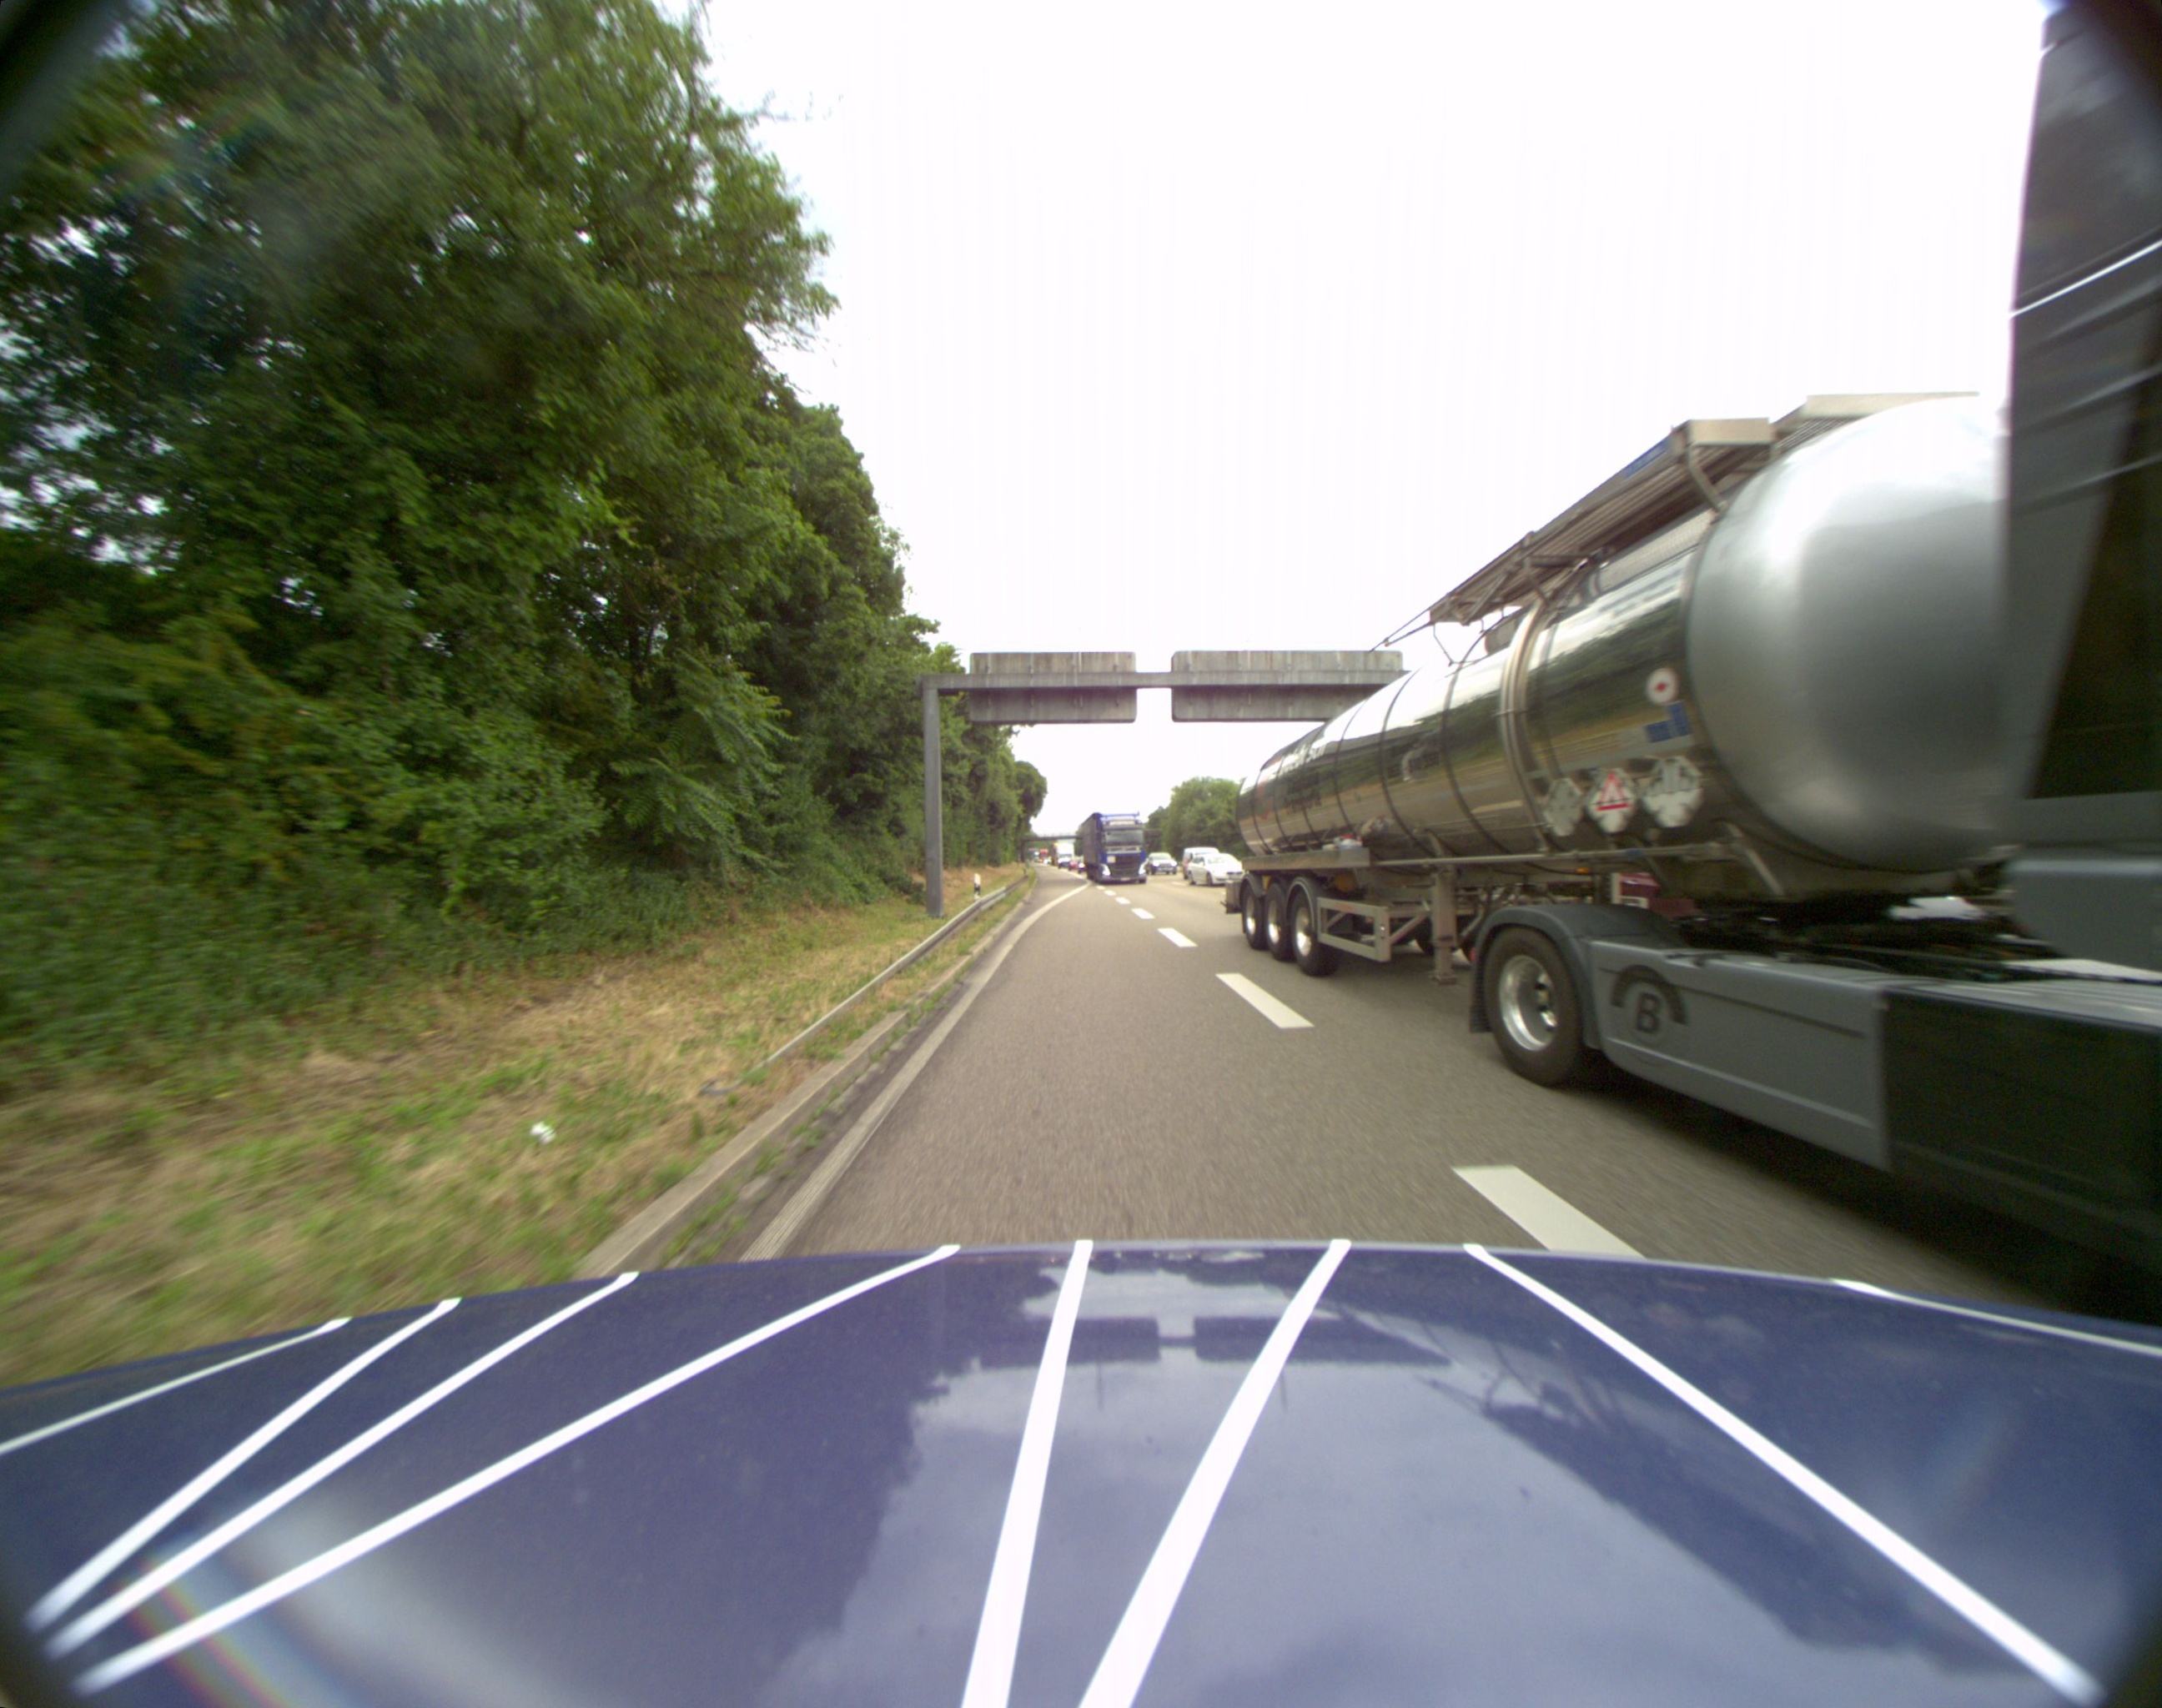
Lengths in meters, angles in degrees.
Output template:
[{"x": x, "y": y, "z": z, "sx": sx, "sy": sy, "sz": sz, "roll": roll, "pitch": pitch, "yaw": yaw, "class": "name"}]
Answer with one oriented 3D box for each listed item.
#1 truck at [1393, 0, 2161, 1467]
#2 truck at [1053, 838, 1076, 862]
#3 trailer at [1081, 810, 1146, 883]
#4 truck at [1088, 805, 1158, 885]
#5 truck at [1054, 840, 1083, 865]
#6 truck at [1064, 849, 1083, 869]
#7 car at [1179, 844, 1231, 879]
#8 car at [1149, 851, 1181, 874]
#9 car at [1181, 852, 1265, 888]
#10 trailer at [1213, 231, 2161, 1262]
[{"x": 4.021, "y": -0.411, "z": 2.751, "sx": 2.690, "sy": 3.884, "sz": 6.934, "roll": -1, "pitch": 0, "yaw": -2, "class": "truck"}, {"x": -2.983, "y": -0.702, "z": 134.140, "sx": 3.366, "sy": 4.041, "sz": 10.179, "roll": -3, "pitch": 1, "yaw": -5, "class": "truck"}, {"x": 1.866, "y": -0.461, "z": 49.632, "sx": 2.845, "sy": 4.013, "sz": 13.081, "roll": -3, "pitch": 1, "yaw": -3, "class": "trailer"}, {"x": 2.175, "y": -0.468, "z": 42.279, "sx": 2.961, "sy": 3.946, "sz": 7.469, "roll": -2, "pitch": 0, "yaw": -3, "class": "truck"}, {"x": -1.761, "y": -0.166, "z": 102.975, "sx": 3.367, "sy": 3.099, "sz": 7.236, "roll": -3, "pitch": 1, "yaw": -5, "class": "truck"}, {"x": -0.830, "y": 0.529, "z": 82.711, "sx": 1.894, "sy": 2.002, "sz": 6.090, "roll": -1, "pitch": 0, "yaw": -1, "class": "truck"}, {"x": 6.985, "y": 0.403, "z": 43.329, "sx": 1.852, "sy": 1.839, "sz": 5.005, "roll": -1, "pitch": 0, "yaw": -3, "class": "car"}, {"x": 6.226, "y": 0.629, "z": 56.607, "sx": 1.848, "sy": 1.641, "sz": 3.999, "roll": -1, "pitch": 0, "yaw": -1, "class": "car"}, {"x": 6.355, "y": 0.684, "z": 34.746, "sx": 2.065, "sy": 1.455, "sz": 5.253, "roll": -1, "pitch": 0, "yaw": -9, "class": "car"}, {"x": 3.880, "y": -0.417, "z": 8.389, "sx": 2.690, "sy": 3.884, "sz": 10.985, "roll": -1, "pitch": 0, "yaw": -1, "class": "trailer"}]
